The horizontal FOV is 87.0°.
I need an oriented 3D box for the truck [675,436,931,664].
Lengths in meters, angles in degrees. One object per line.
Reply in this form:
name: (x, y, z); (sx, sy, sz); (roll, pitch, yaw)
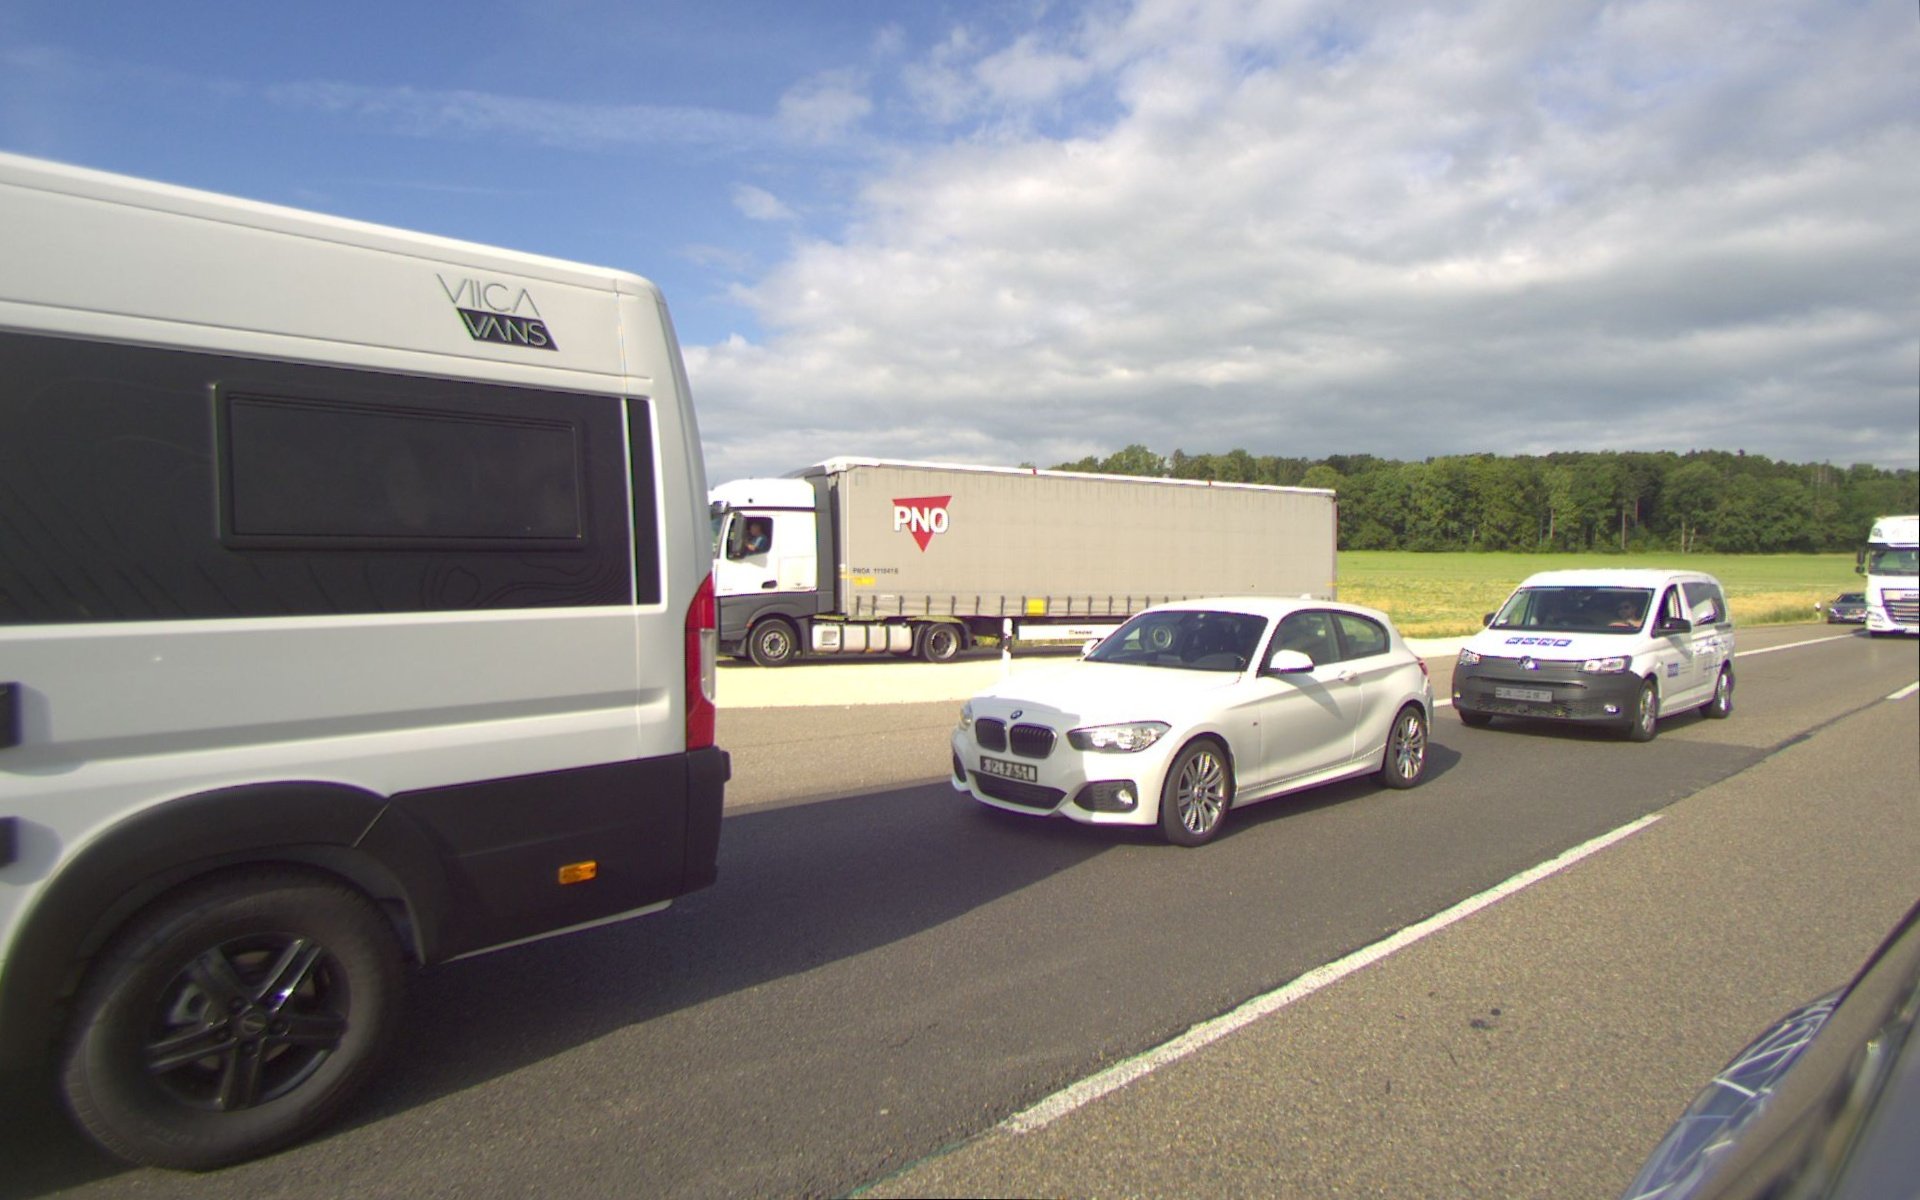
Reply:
truck: (-3.273, -0.937, 20.946); (4.662, 4.226, 2.727); (0, 0, -26)

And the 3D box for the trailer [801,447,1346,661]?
trailer: (3.171, -0.926, 24.098); (13.543, 4.213, 2.748); (0, 0, -26)

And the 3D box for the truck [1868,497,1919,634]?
truck: (31.949, -1.120, 33.047); (5.667, 4.226, 2.733); (-1, 1, -41)

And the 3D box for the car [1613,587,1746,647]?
car: (18.874, 0.381, 26.489); (4.550, 1.450, 1.869); (0, 0, -41)

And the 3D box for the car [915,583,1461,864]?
car: (1.824, 0.618, 7.239); (4.158, 1.450, 1.706); (0, 0, -41)

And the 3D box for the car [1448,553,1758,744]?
car: (7.495, 0.436, 11.589); (4.620, 1.779, 1.727); (0, 0, -41)

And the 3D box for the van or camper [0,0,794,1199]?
van or camper: (-3.625, -0.003, 2.240); (6.222, 2.714, 2.219); (0, 1, -41)

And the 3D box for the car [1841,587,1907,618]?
car: (41.627, 0.109, 46.060); (4.110, 1.370, 1.706); (0, 0, -41)

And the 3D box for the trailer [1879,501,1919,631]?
trailer: (36.588, -1.230, 37.147); (13.777, 4.212, 2.739); (-1, 1, -41)
